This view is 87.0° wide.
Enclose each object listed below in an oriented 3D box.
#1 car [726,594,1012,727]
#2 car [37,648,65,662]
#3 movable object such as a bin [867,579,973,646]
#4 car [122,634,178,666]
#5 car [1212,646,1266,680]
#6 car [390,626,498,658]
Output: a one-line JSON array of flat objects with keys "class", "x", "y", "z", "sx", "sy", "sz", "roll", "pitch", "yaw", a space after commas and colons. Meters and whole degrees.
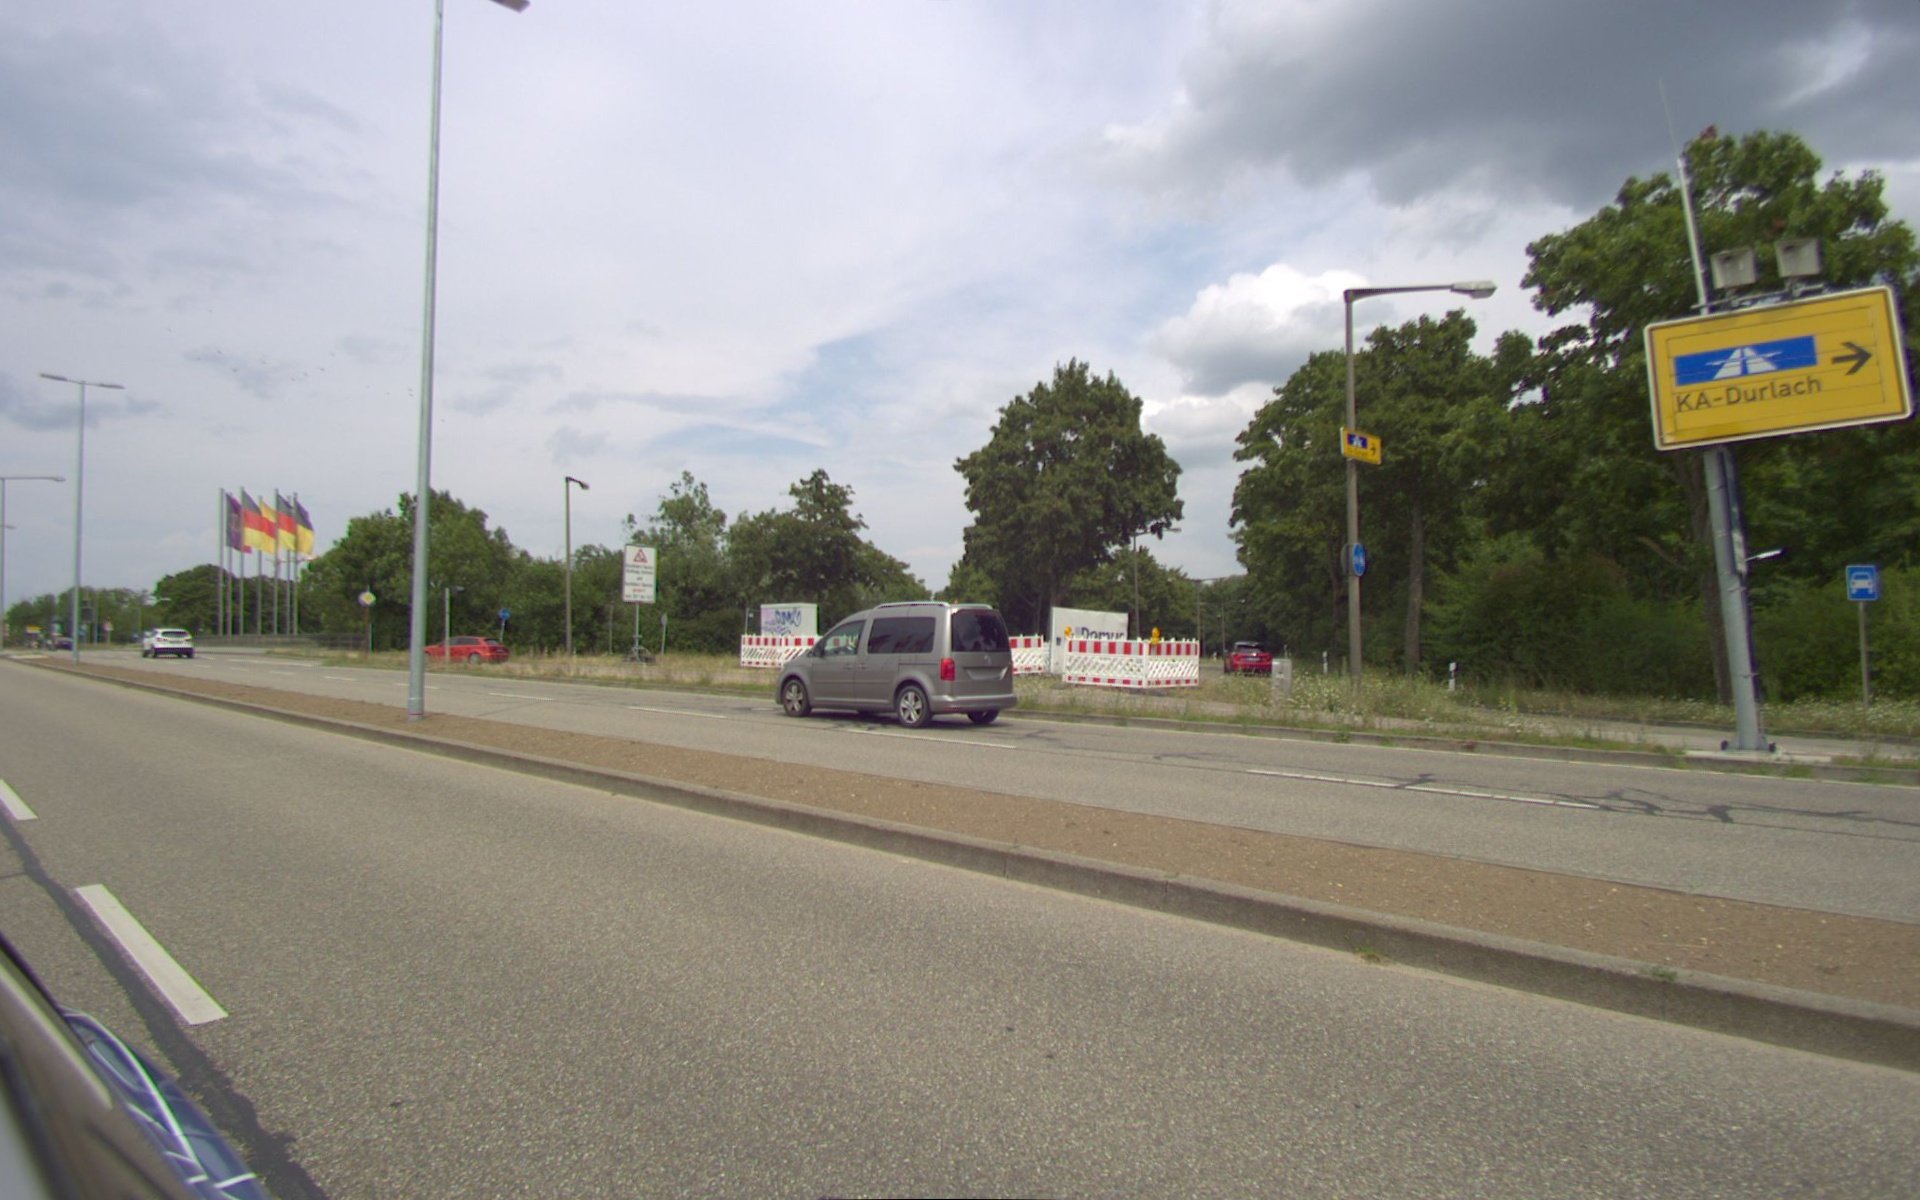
[{"class": "car", "x": -1.562, "y": 0.938, "z": 16.085, "sx": 4.536, "sy": 1.823, "sz": 1.883, "roll": -3, "pitch": -3, "yaw": 41}, {"class": "car", "x": -97.794, "y": 5.928, "z": 108.882, "sx": 1.970, "sy": 1.384, "sz": 4.580, "roll": 3, "pitch": -3, "yaw": -44}, {"class": "movable object such as a bin", "x": -1.486, "y": 0.514, "z": 39.744, "sx": 1.992, "sy": 2.415, "sz": 4.545, "roll": -3, "pitch": -2, "yaw": 30}, {"class": "car", "x": -44.056, "y": 2.721, "z": 55.028, "sx": 4.382, "sy": 1.641, "sz": 1.676, "roll": -3, "pitch": -3, "yaw": 42}, {"class": "car", "x": 11.797, "y": 2.643, "z": 42.966, "sx": 1.696, "sy": 1.335, "sz": 3.475, "roll": -2, "pitch": -2, "yaw": 7}, {"class": "car", "x": -24.353, "y": 1.989, "z": 47.839, "sx": 4.239, "sy": 1.384, "sz": 1.780, "roll": -2, "pitch": -2, "yaw": 2}]
